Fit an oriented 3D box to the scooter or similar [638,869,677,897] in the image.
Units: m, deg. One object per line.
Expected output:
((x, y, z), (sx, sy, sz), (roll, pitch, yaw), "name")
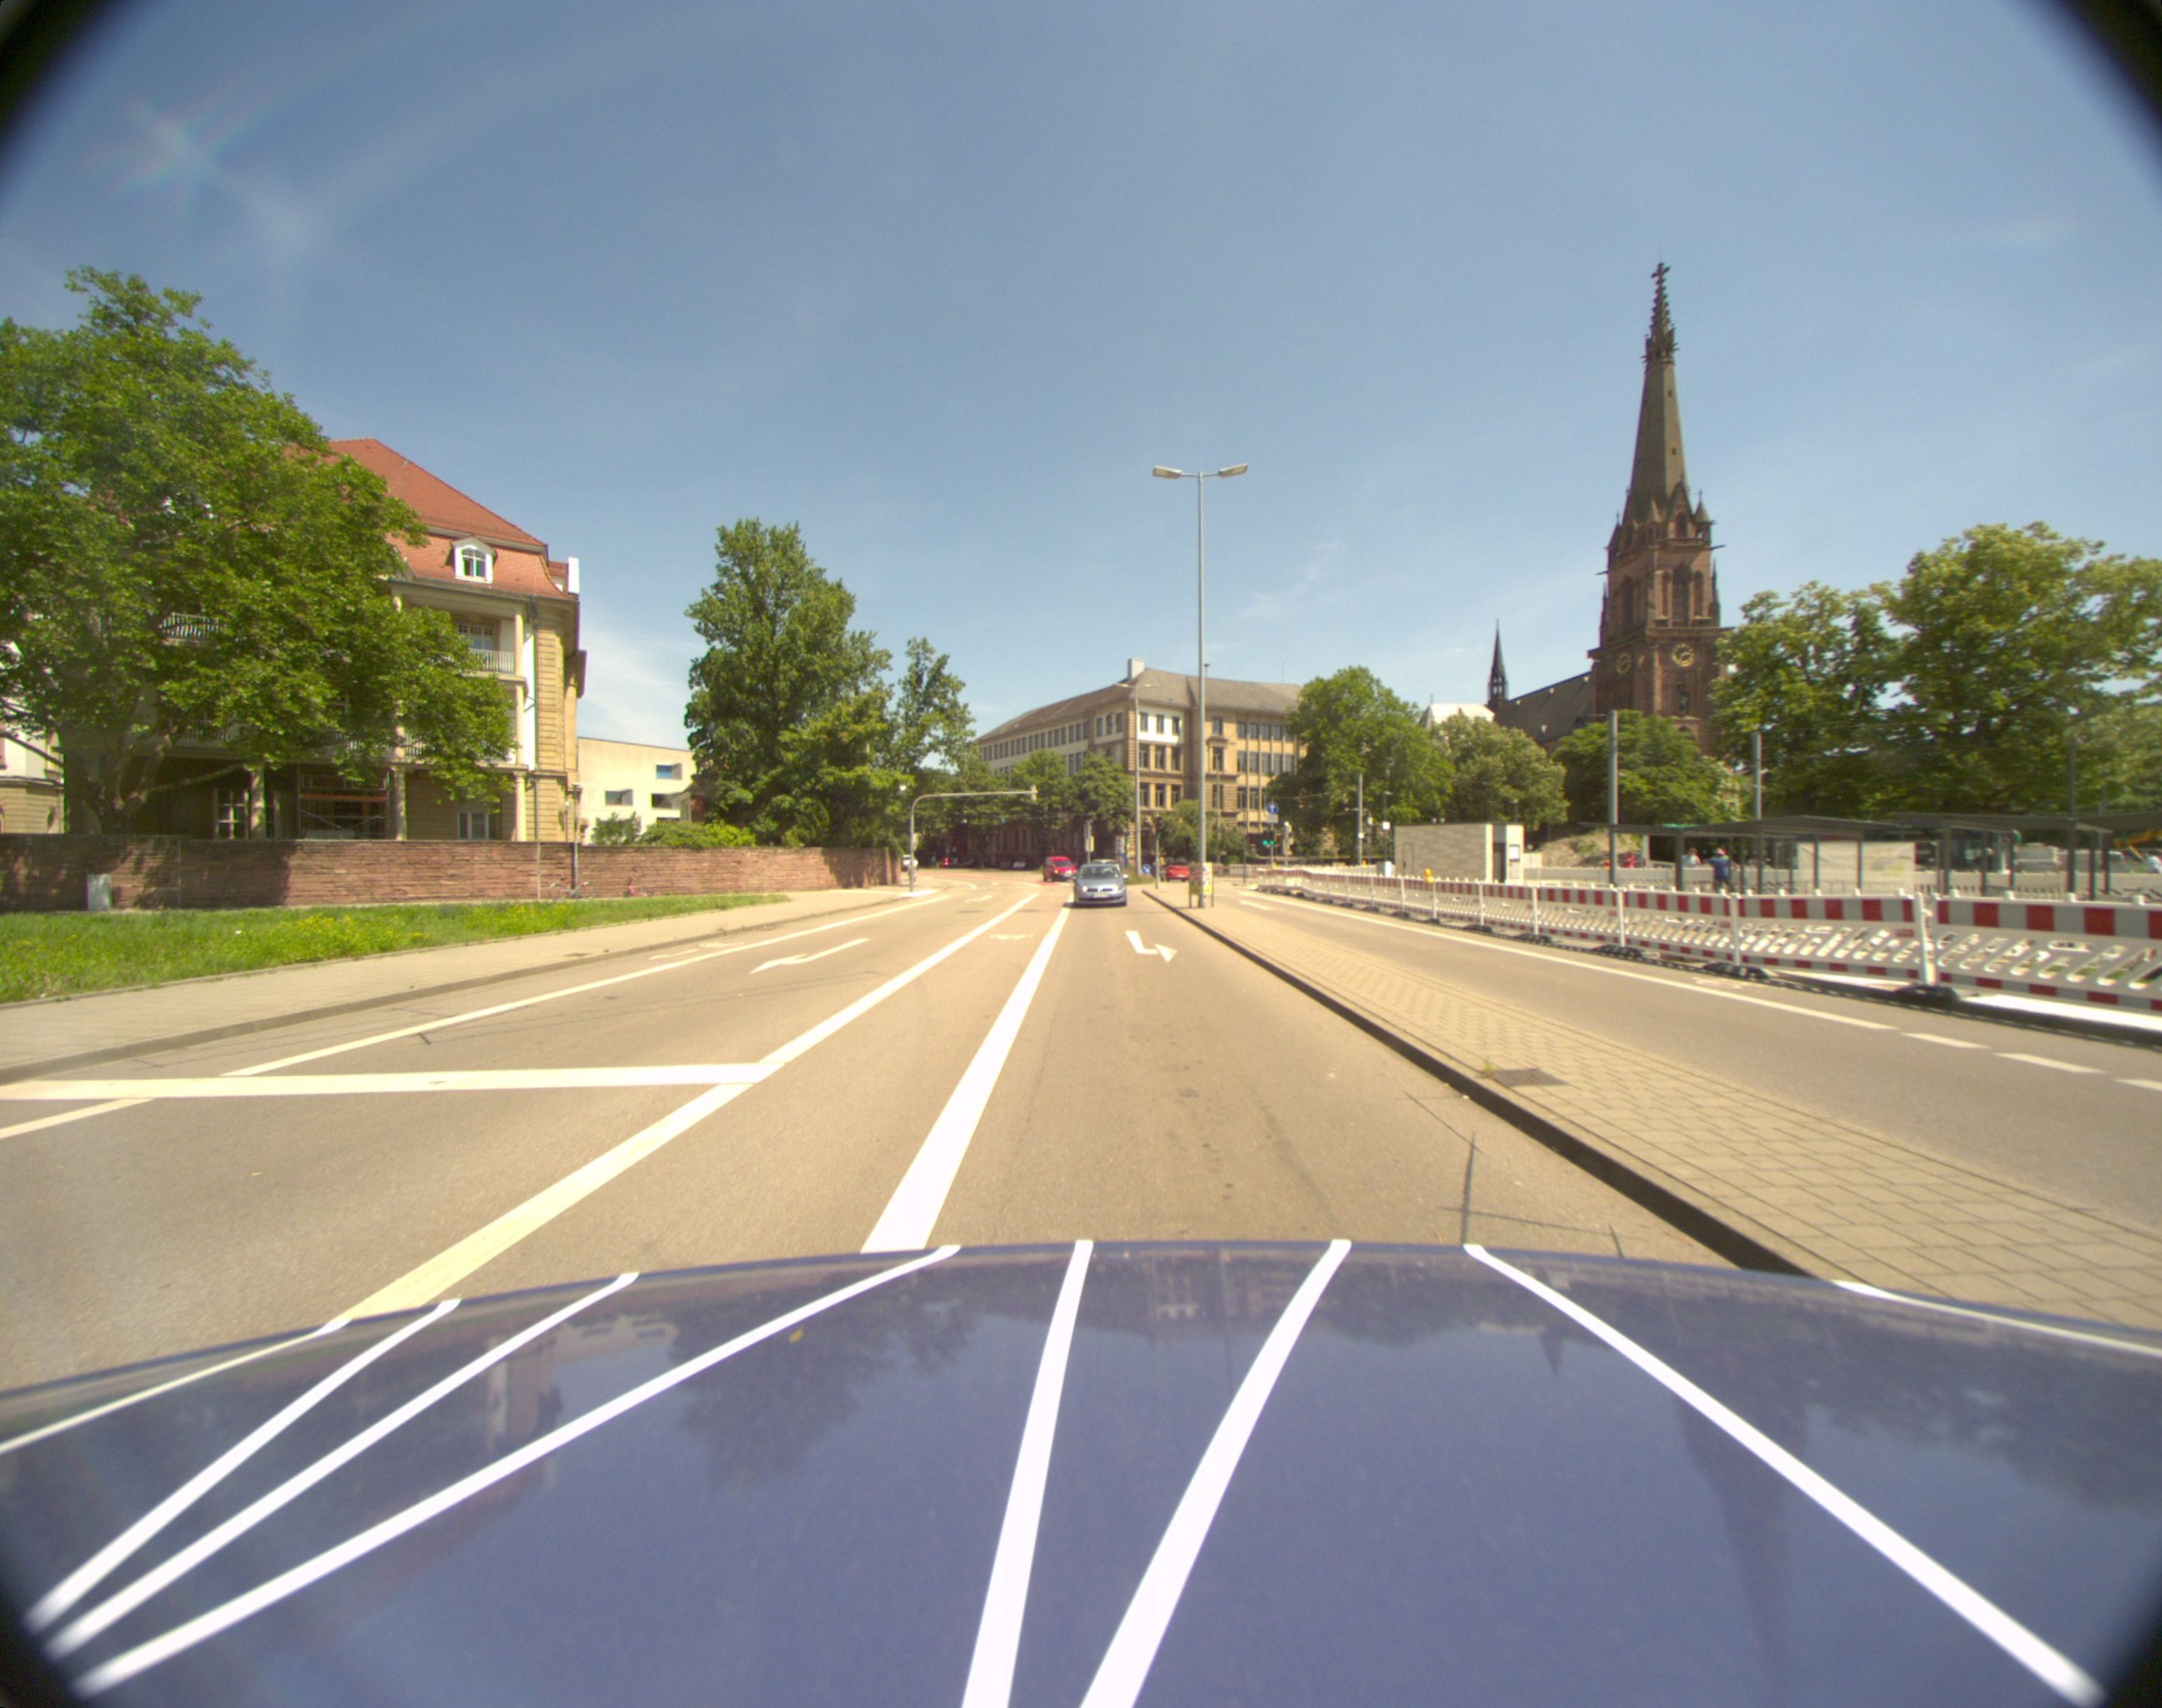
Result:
((-18.161, 1.245, 32.592), (0.373, 1.102, 1.352), (-2, 1, 39), "scooter or similar")

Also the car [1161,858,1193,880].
((6.467, 0.991, 51.490), (1.692, 1.370, 4.013), (2, 0, 1), "car")

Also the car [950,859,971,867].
((-17.811, 1.315, 112.567), (1.277, 1.092, 2.995), (-2, 1, 38), "car")

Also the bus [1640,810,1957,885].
((33.521, -0.219, 36.292), (2.860, 3.036, 10.577), (-3, 1, -33), "bus")

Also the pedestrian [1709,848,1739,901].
((22.385, 0.699, 26.450), (0.646, 1.778, 0.636), (-3, 1, -35), "pedestrian")

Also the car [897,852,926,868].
((-20.401, 0.724, 91.313), (1.712, 1.852, 4.249), (-3, 1, -38), "car")

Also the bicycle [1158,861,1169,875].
((7.370, 1.255, 67.805), (0.589, 1.143, 2.008), (2, 0, -4), "bicycle")

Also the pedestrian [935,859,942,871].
((-20.758, 1.606, 110.655), (0.725, 1.661, 0.642), (0, 1, -29), "pedestrian")

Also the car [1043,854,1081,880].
((-1.424, 0.938, 55.610), (1.834, 1.756, 4.274), (-2, 0, -14), "car")

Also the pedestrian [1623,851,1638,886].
((26.601, 0.699, 36.769), (0.564, 1.691, 0.582), (-2, 1, 37), "pedestrian")

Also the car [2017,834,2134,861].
((64.236, -0.382, 49.195), (1.783, 1.593, 4.240), (-2, 0, -13), "car")

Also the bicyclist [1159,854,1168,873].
((7.377, 0.868, 67.851), (0.587, 1.655, 0.799), (1, 1, -2), "bicyclist")

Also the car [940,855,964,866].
((-19.698, 0.999, 116.093), (1.611, 1.444, 3.585), (-2, 1, 28), "car")

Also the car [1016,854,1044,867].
((-6.519, 0.822, 97.228), (1.567, 1.412, 3.559), (-2, 1, 40), "car")

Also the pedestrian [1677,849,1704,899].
((21.741, 0.720, 27.086), (0.542, 1.746, 0.657), (-3, 1, -44), "pedestrian")

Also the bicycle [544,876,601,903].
((-20.188, 1.397, 30.184), (1.778, 0.923, 0.677), (-3, 1, -44), "bicycle")

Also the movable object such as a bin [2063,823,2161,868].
((83.170, -0.688, 58.952), (2.910, 3.369, 7.965), (-2, 0, -15), "movable object such as a bin")

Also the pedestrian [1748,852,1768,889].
((30.110, 0.727, 33.796), (0.628, 1.645, 0.545), (-3, 1, -38), "pedestrian")

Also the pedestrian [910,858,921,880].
((-12.401, 1.126, 56.983), (0.606, 1.601, 0.557), (2, -1, -31), "pedestrian")

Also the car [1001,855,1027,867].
((-8.678, 0.891, 99.171), (1.567, 1.454, 3.156), (-2, 1, 39), "car")

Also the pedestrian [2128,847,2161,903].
((35.948, 0.706, 25.682), (0.700, 1.847, 0.604), (-3, 1, -38), "pedestrian")

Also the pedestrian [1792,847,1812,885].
((30.979, 0.529, 32.659), (0.538, 1.611, 0.519), (-3, 1, -38), "pedestrian")

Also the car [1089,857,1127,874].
((2.369, 1.022, 68.776), (1.823, 1.420, 4.419), (1, 0, -21), "car")

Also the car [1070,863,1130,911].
((0.626, 1.040, 25.534), (1.832, 1.406, 3.994), (0, 0, 1), "car")

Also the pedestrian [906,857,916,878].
((-13.589, 1.080, 60.793), (0.606, 1.702, 0.557), (2, -1, -32), "pedestrian")

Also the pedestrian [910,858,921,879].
((-12.794, 1.139, 58.745), (0.606, 1.601, 0.557), (2, -1, -31), "pedestrian")

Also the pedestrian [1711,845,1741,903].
((21.649, 0.670, 25.518), (0.694, 1.894, 0.575), (-3, 1, -35), "pedestrian")
